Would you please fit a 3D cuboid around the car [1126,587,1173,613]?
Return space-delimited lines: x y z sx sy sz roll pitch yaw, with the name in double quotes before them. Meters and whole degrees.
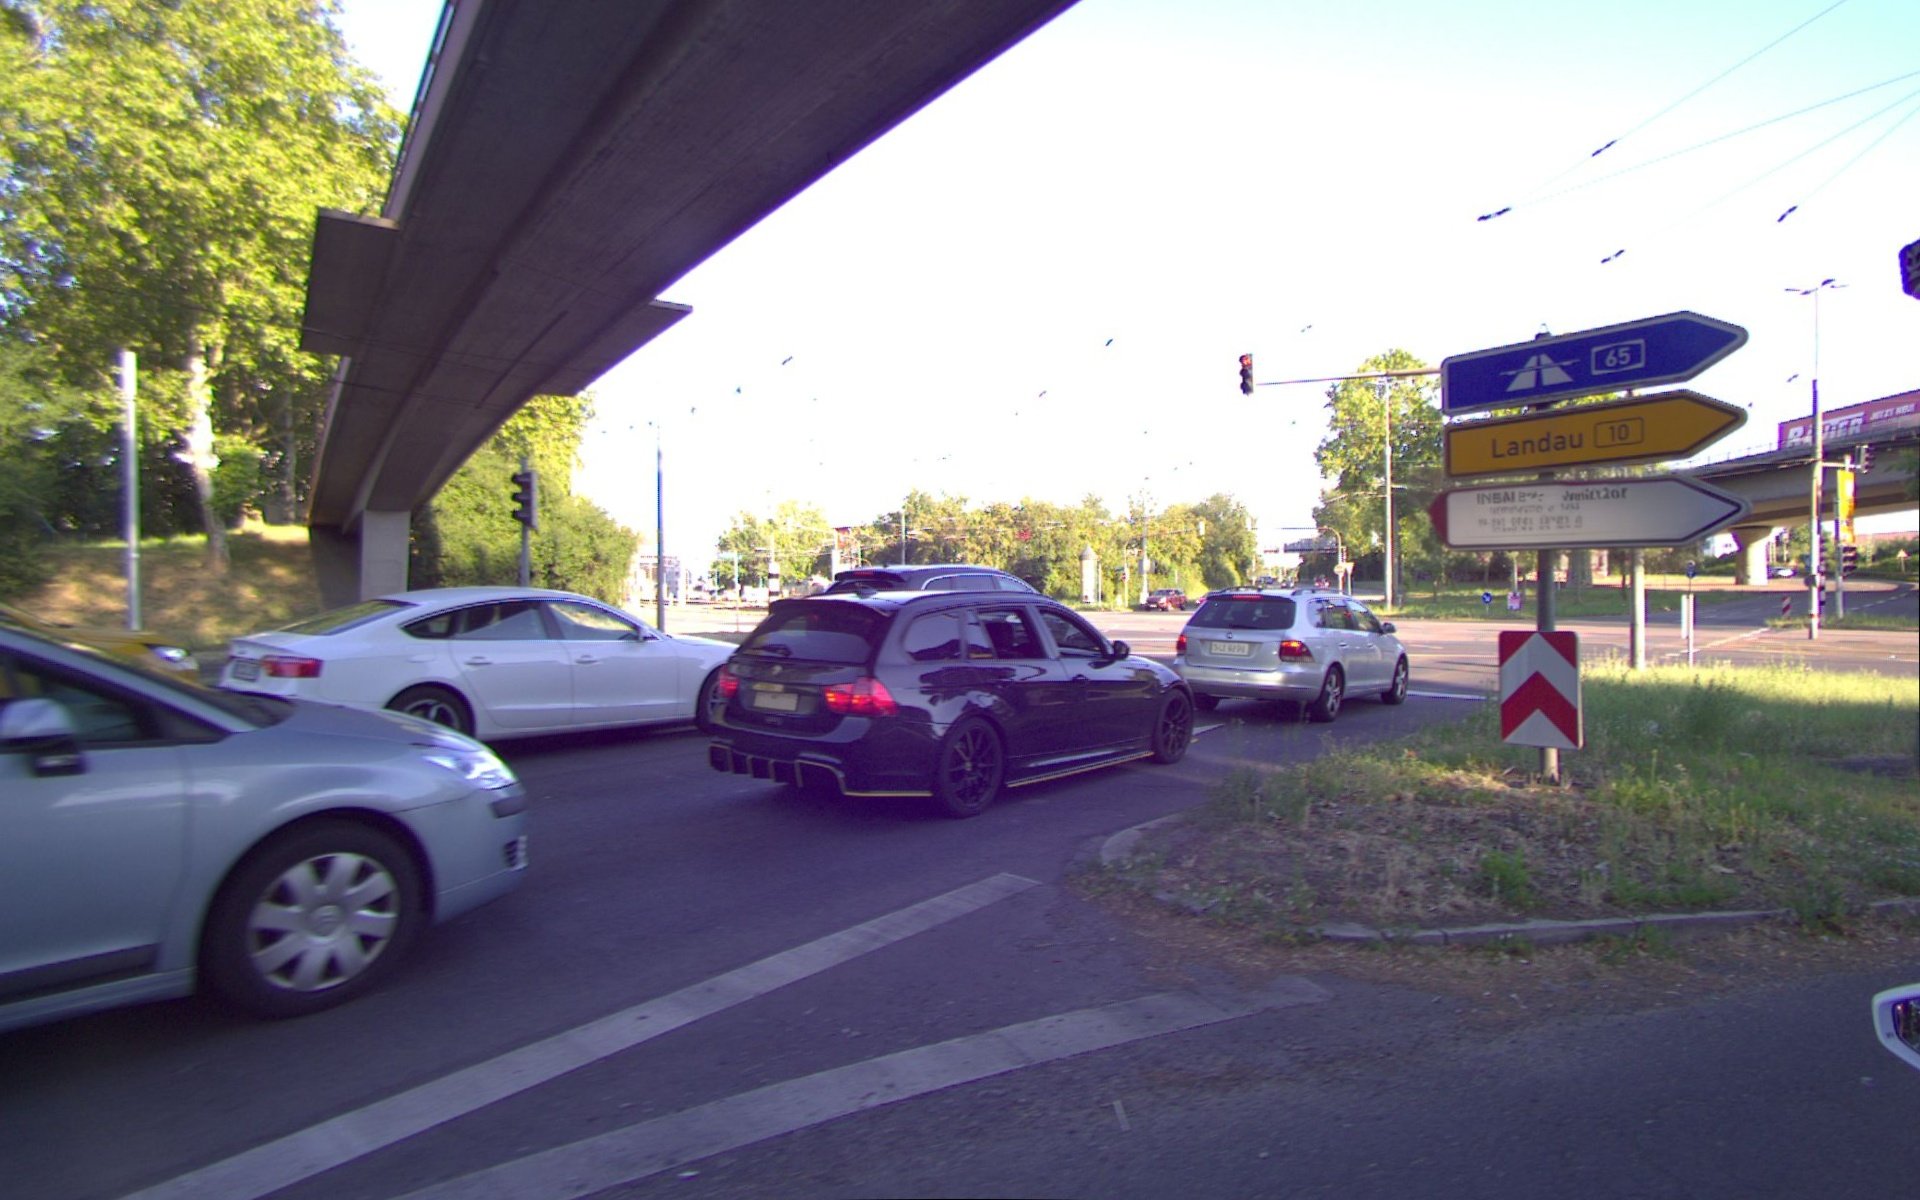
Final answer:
"car" 13.923 -0.012 73.617 1.855 1.795 3.984 1 1 37

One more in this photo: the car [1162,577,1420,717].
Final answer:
"car" 4.271 0.515 12.570 1.771 1.461 3.982 -3 -1 38

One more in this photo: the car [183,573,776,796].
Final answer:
"car" -3.861 0.530 8.794 1.720 1.451 4.392 1 1 38

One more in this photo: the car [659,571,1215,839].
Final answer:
"car" 0.155 0.541 7.655 1.771 1.401 4.456 -3 0 38

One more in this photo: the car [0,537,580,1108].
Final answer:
"car" -3.430 0.616 2.944 1.771 1.501 3.982 -3 -1 38

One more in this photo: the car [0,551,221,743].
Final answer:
"car" -8.881 0.421 8.473 1.643 1.586 3.982 -2 -1 38

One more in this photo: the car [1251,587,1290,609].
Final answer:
"car" 25.990 -0.208 84.090 1.855 1.795 3.984 1 1 37

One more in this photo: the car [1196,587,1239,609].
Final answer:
"car" 19.156 -0.140 74.636 1.855 1.596 3.660 1 1 37

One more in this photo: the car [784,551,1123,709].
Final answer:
"car" 0.083 0.357 13.882 4.794 1.816 1.775 -1 -1 -44
